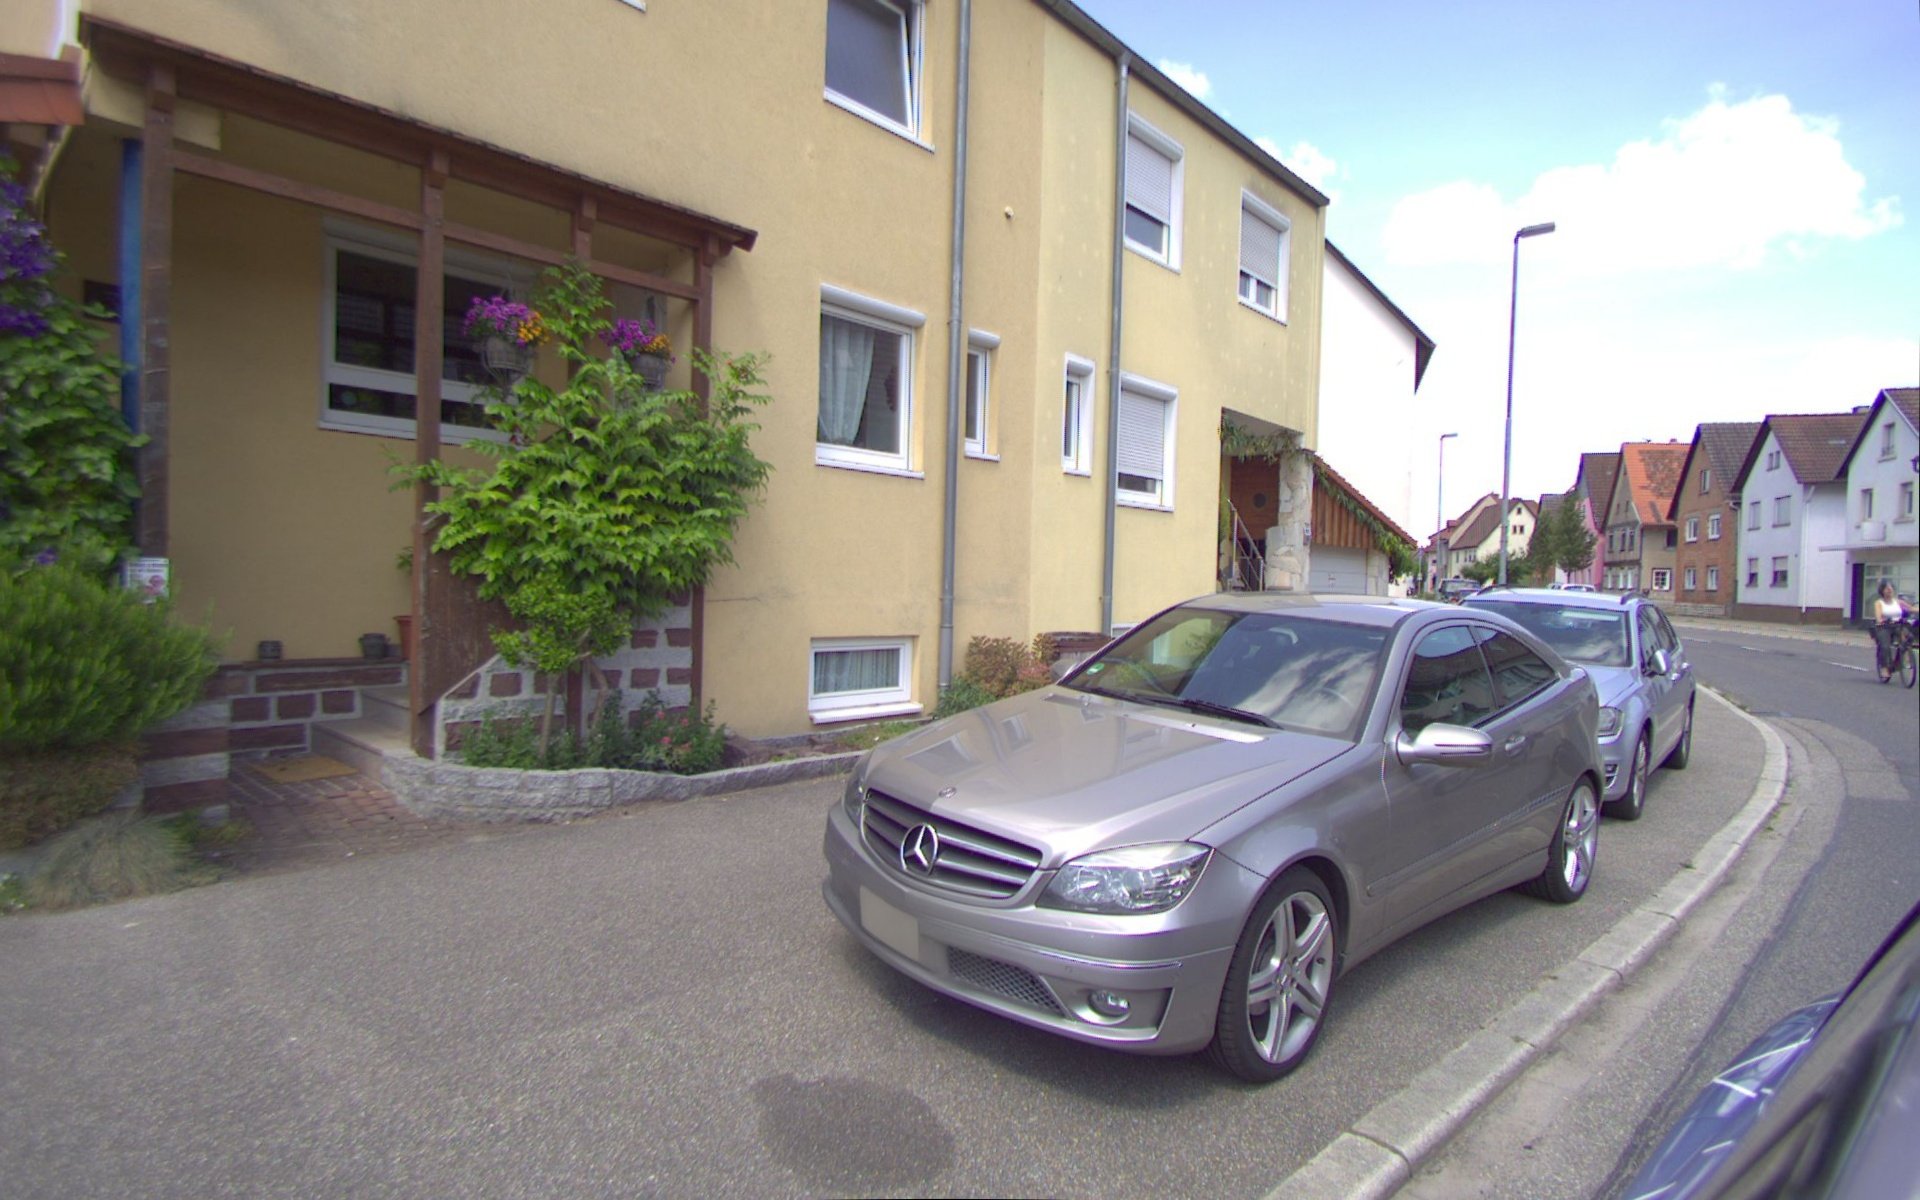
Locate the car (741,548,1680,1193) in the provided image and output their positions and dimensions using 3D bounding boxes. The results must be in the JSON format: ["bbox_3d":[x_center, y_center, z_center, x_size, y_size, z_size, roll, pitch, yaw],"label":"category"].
[{"bbox_3d":[1.431,0.544,4.408,4.348,1.416,1.774,-2,5,-41],"label":"car"}]

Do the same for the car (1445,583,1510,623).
[{"bbox_3d":[22.979,0.101,45.086,1.641,1.668,3.984,0,1,13],"label":"car"}]

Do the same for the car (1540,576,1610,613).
[{"bbox_3d":[32.990,-0.346,54.443,1.972,1.822,4.911,0,2,17],"label":"car"}]

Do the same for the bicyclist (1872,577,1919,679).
[{"bbox_3d":[16.415,0.469,17.485,0.905,1.709,0.751,1,2,39],"label":"bicyclist"}]

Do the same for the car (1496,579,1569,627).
[{"bbox_3d":[20.069,0.131,35.620,1.754,1.549,3.967,2,-1,23],"label":"car"}]

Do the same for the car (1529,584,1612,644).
[{"bbox_3d":[16.885,0.334,28.154,1.713,1.402,3.962,2,3,28],"label":"car"}]

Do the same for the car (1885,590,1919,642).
[{"bbox_3d":[27.492,0.445,27.663,1.789,1.438,4.516,0,0,22],"label":"car"}]

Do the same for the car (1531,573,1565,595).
[{"bbox_3d":[43.259,-1.173,74.483,1.665,1.549,3.474,0,2,22],"label":"car"}]

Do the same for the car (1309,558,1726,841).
[{"bbox_3d":[4.611,0.532,8.036,1.885,1.548,4.269,6,4,42],"label":"car"}]

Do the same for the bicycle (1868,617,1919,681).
[{"bbox_3d":[16.299,0.821,17.340,0.929,1.024,1.898,1,0,37],"label":"bicycle"}]
